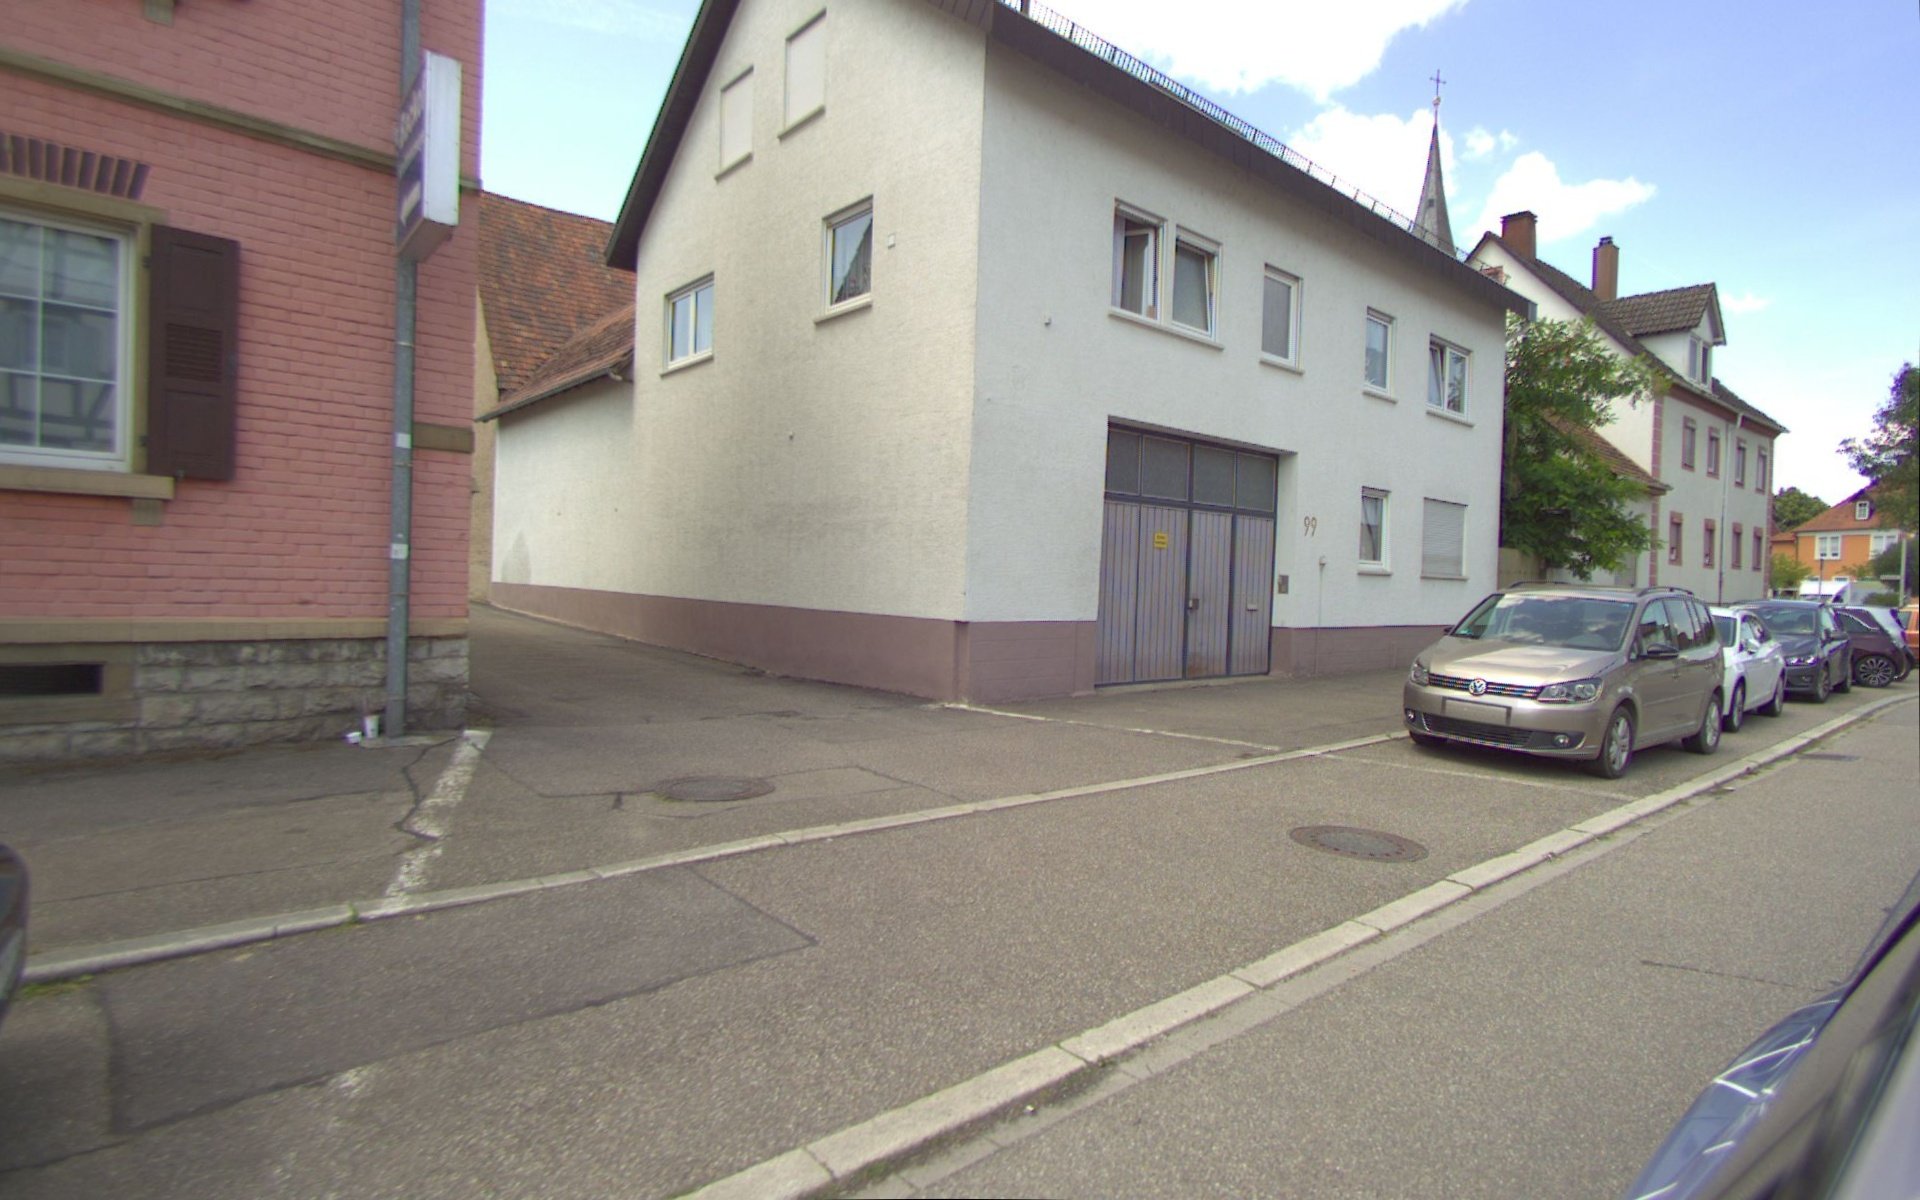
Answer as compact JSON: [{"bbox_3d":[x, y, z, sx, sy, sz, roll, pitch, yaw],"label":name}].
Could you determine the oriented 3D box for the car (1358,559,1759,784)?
[{"bbox_3d":[5.976,0.541,9.918,4.245,1.701,1.999,1,2,-39],"label":"car"}]

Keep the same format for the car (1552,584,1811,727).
[{"bbox_3d":[9.798,0.624,13.615,4.298,1.536,1.996,1,2,-43],"label":"car"}]

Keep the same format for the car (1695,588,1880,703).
[{"bbox_3d":[14.011,0.685,17.053,4.196,1.644,1.666,1,2,-41],"label":"car"}]

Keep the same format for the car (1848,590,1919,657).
[{"bbox_3d":[25.904,0.699,26.396,1.819,1.596,3.856,-2,6,-42],"label":"car"}]

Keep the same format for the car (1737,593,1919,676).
[{"bbox_3d":[18.649,0.681,21.711,2.762,1.523,1.860,3,2,28],"label":"car"}]

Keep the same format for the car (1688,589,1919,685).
[{"bbox_3d":[16.517,0.664,19.871,3.204,1.523,1.811,5,3,25],"label":"car"}]

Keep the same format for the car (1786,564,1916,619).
[{"bbox_3d":[52.610,-0.479,59.775,6.964,2.999,2.768,1,3,-22],"label":"car"}]

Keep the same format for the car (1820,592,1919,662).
[{"bbox_3d":[23.879,0.706,25.244,1.695,1.596,3.386,1,3,-39],"label":"car"}]

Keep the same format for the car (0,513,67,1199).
[{"bbox_3d":[-3.834,0.538,1.175,4.086,1.513,1.780,1,3,-39],"label":"car"}]
